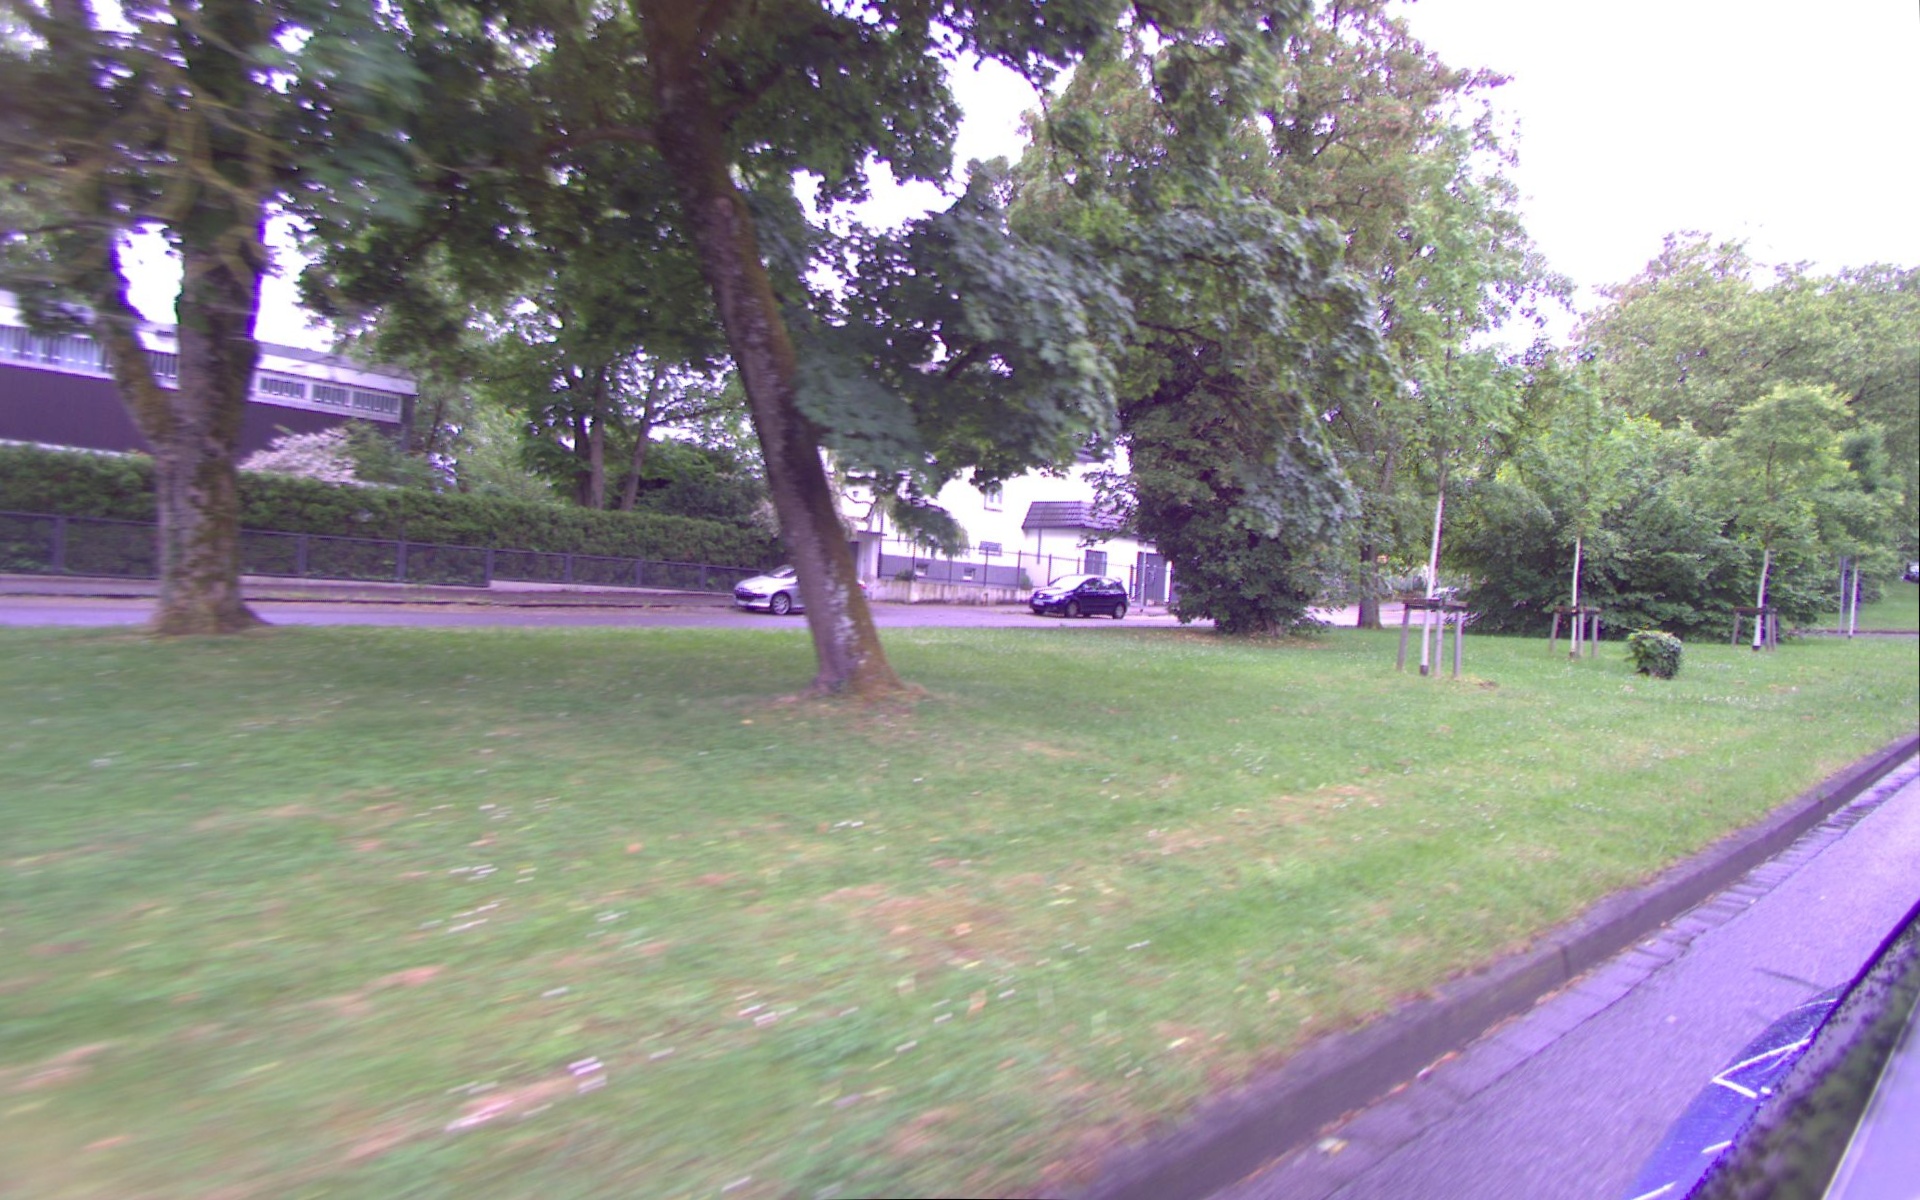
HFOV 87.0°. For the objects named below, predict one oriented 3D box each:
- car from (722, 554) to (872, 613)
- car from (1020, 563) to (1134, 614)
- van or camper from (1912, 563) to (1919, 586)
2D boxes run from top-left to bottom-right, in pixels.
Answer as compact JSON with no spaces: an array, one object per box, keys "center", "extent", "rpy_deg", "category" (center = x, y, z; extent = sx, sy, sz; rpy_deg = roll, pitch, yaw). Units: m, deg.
[{"center":[-4.365,-0.439,27.348],"extent":[3.647,1.392,1.684],"rpy_deg":[0,5,-44],"category":"car"},{"center":[4.204,-0.415,36.003],"extent":[3.968,1.644,1.904],"rpy_deg":[0,3,-44],"category":"car"},{"center":[84.013,-2.213,87.687],"extent":[1.993,1.891,5.580],"rpy_deg":[4,5,42],"category":"van or camper"}]
